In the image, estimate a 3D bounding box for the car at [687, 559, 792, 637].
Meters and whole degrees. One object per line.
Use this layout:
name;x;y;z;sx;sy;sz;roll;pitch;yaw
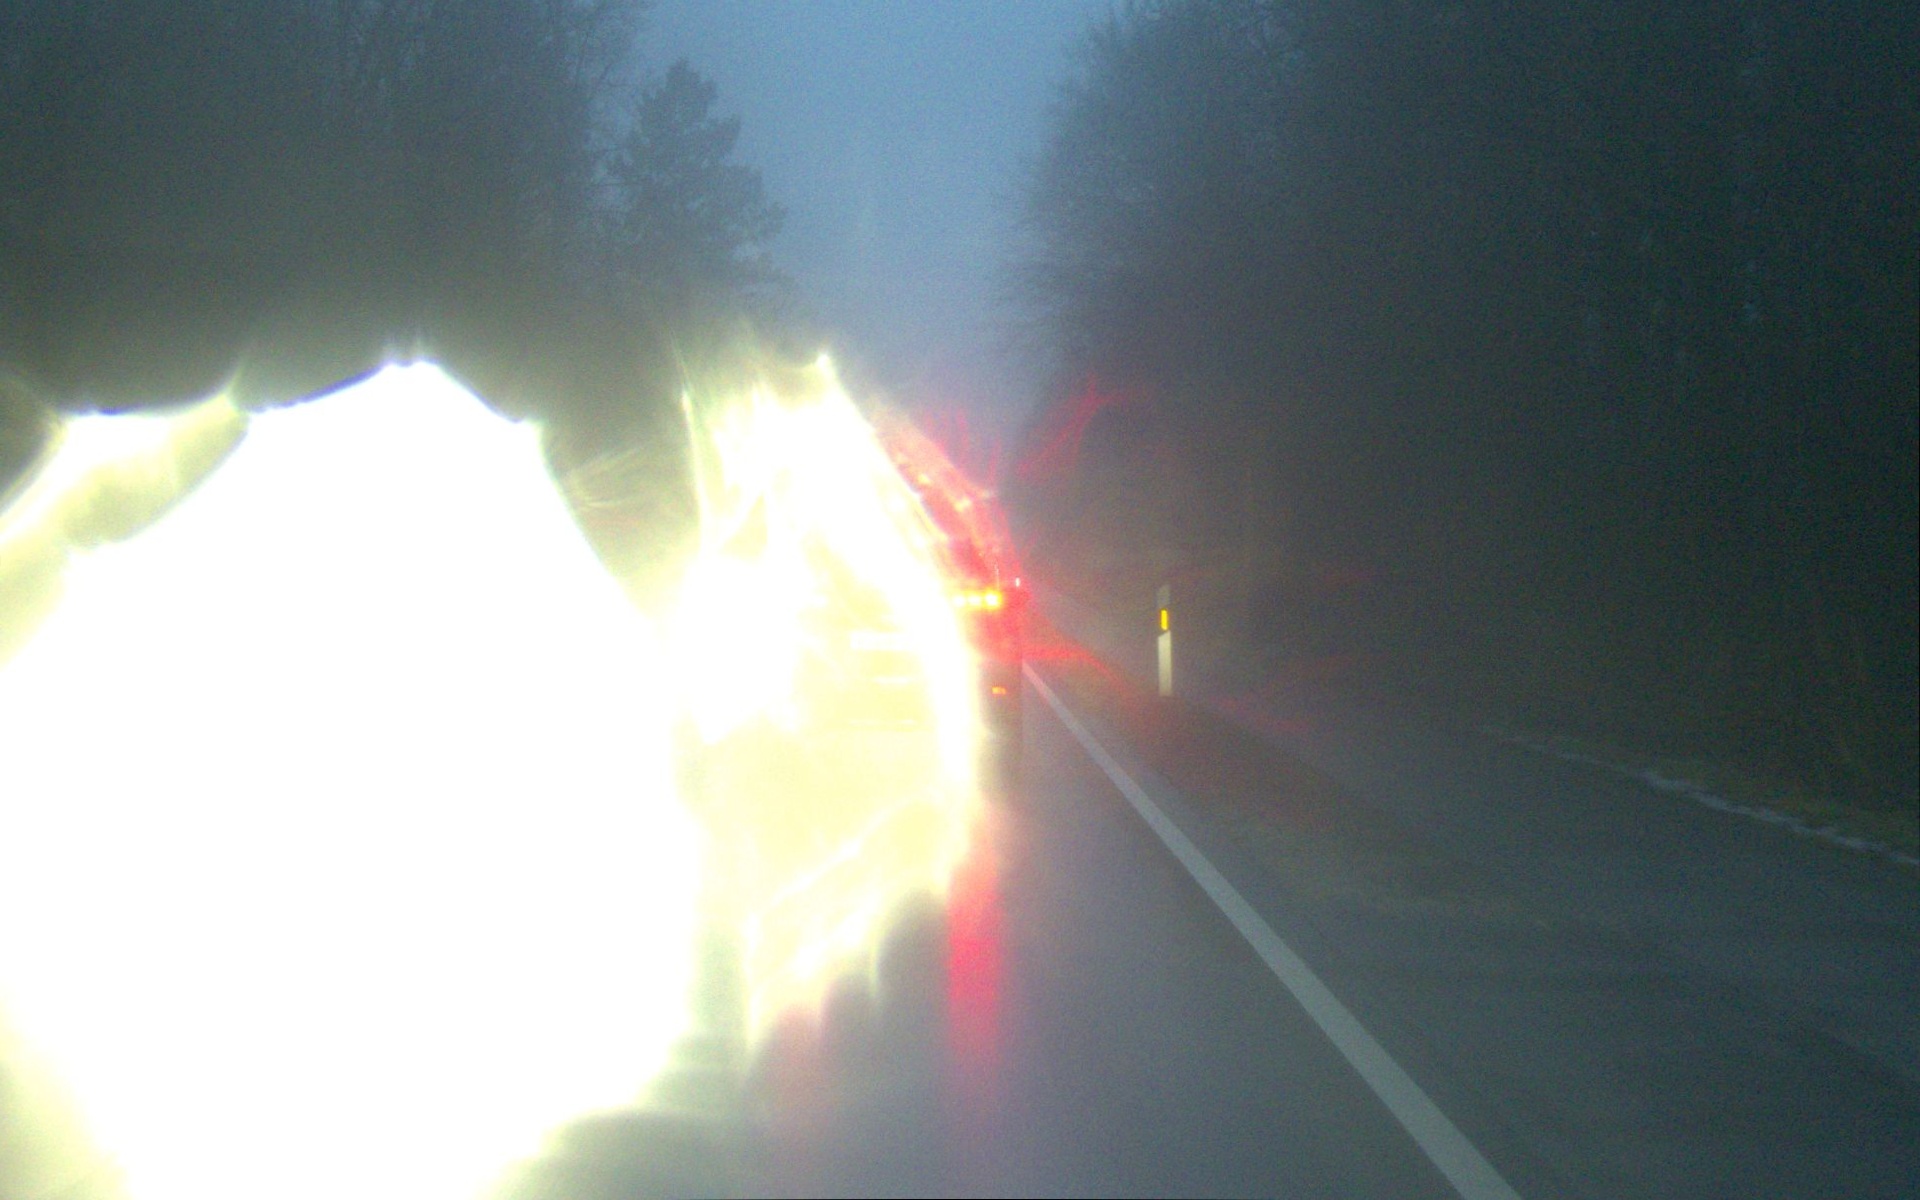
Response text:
car;-4.746;-0.066;74.494;2.075;1.610;4.152;-1;1;-1

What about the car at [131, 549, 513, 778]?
car;-4.297;0.368;23.816;1.868;1.418;4.387;0;1;-1

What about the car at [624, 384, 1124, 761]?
car;-0.540;-0.222;25.427;3.183;2.378;6.636;1;1;0
